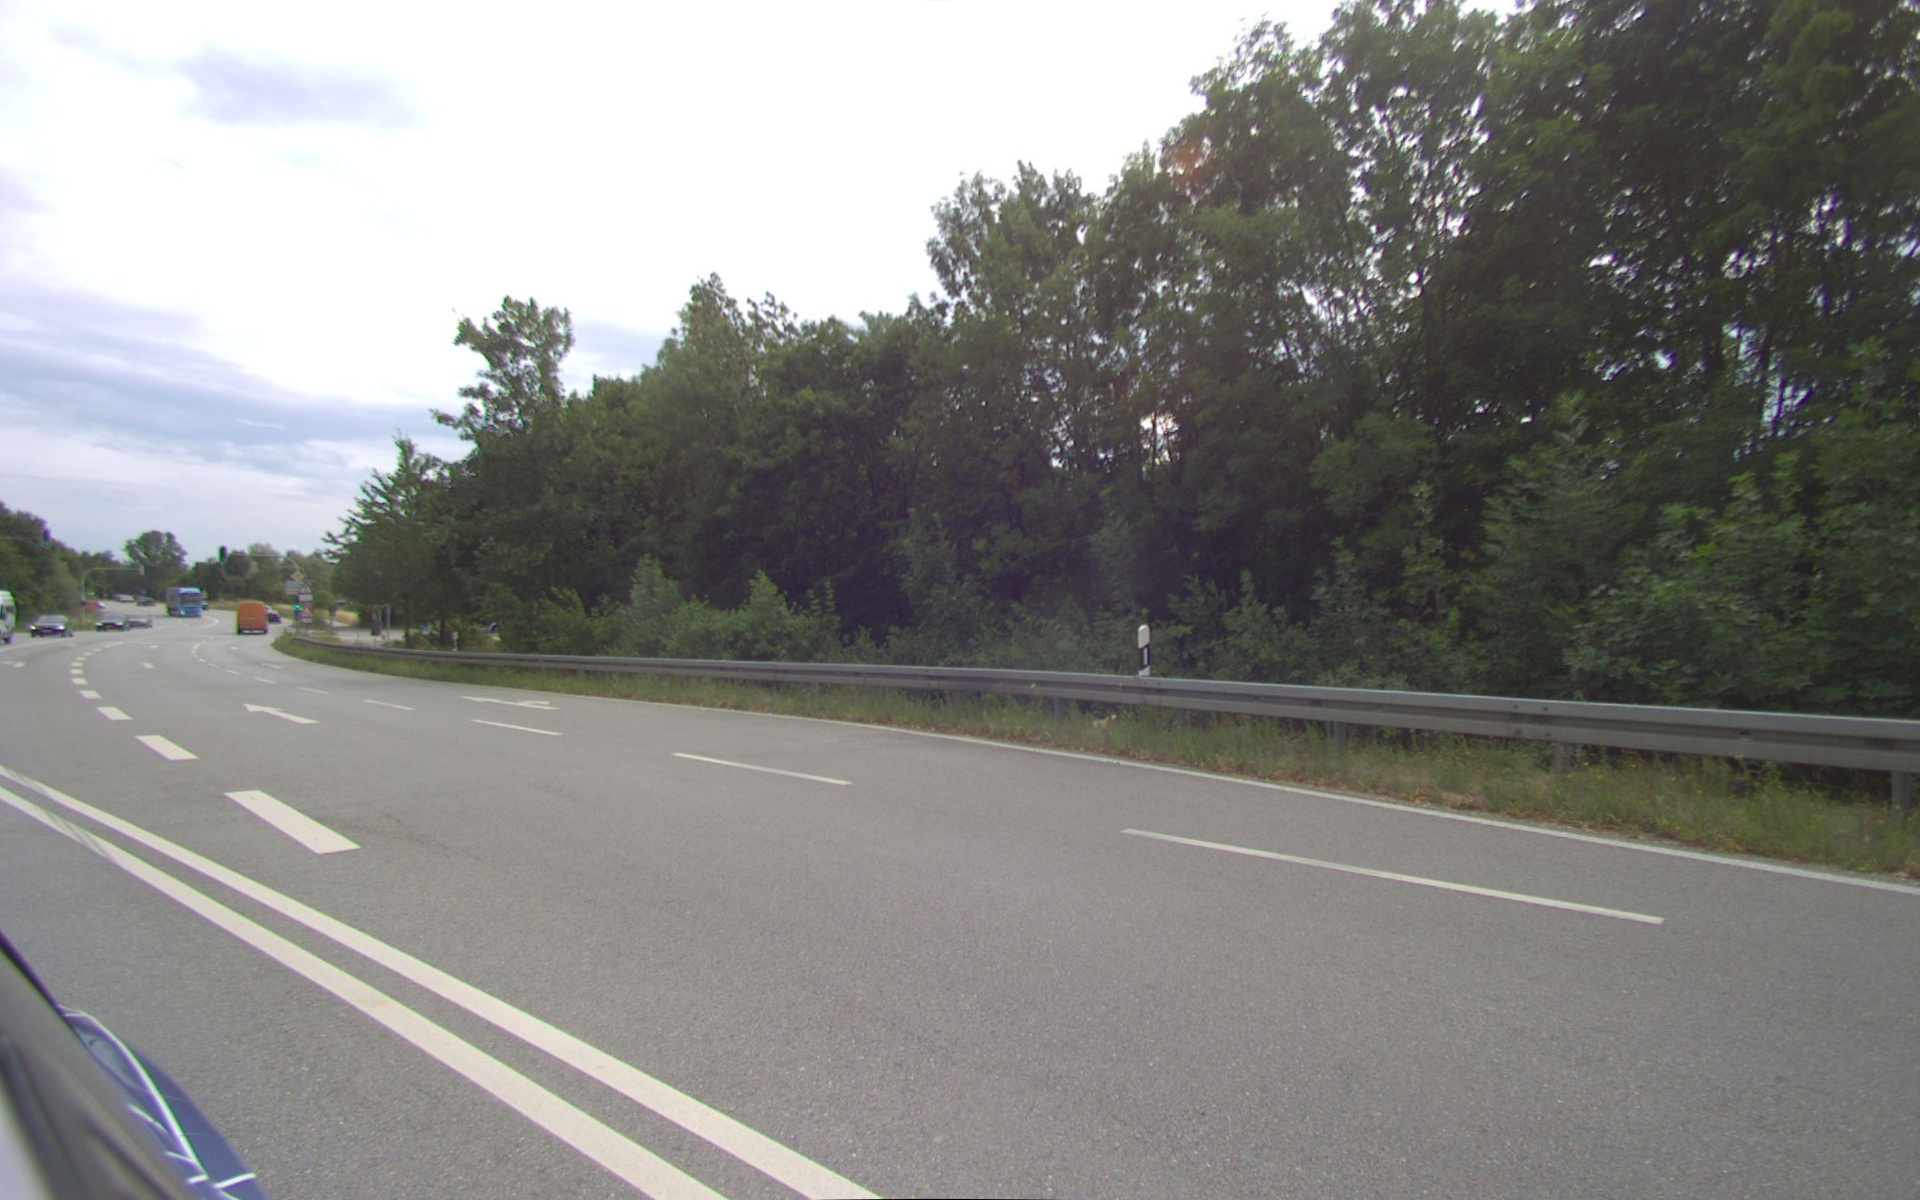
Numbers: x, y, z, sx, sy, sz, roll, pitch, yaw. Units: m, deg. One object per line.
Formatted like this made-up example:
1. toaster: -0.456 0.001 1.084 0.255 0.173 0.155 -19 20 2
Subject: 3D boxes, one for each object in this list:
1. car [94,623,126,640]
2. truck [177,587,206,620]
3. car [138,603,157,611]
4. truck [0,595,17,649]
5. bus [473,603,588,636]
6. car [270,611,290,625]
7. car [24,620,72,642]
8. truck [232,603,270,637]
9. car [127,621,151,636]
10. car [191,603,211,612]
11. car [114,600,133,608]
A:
1. car: -73.207 2.725 87.203 1.717 1.335 4.009 5 -4 -36
2. truck: -108.592 0.564 142.954 2.980 4.383 9.591 2 -2 -38
3. car: -150.480 1.352 187.365 3.993 1.396 1.724 1 -1 36
4. truck: -49.126 1.037 50.621 2.342 2.613 6.010 3 -2 -39
5. bus: -42.125 1.941 99.625 9.920 3.070 3.125 2 -2 -43
6. car: -76.118 2.018 113.304 1.694 1.509 4.561 3 -3 -32
7. car: -60.494 2.084 67.171 1.716 1.335 4.011 4 -4 -33
8. truck: -57.846 1.658 82.505 2.285 2.621 6.037 4 -3 -36
9. car: -80.214 2.758 98.894 1.718 1.335 4.007 5 -4 -40
10. car: -127.814 1.259 170.420 4.198 1.497 1.722 0 -1 41
11. car: -166.275 0.842 201.214 3.985 1.497 1.727 0 0 31
